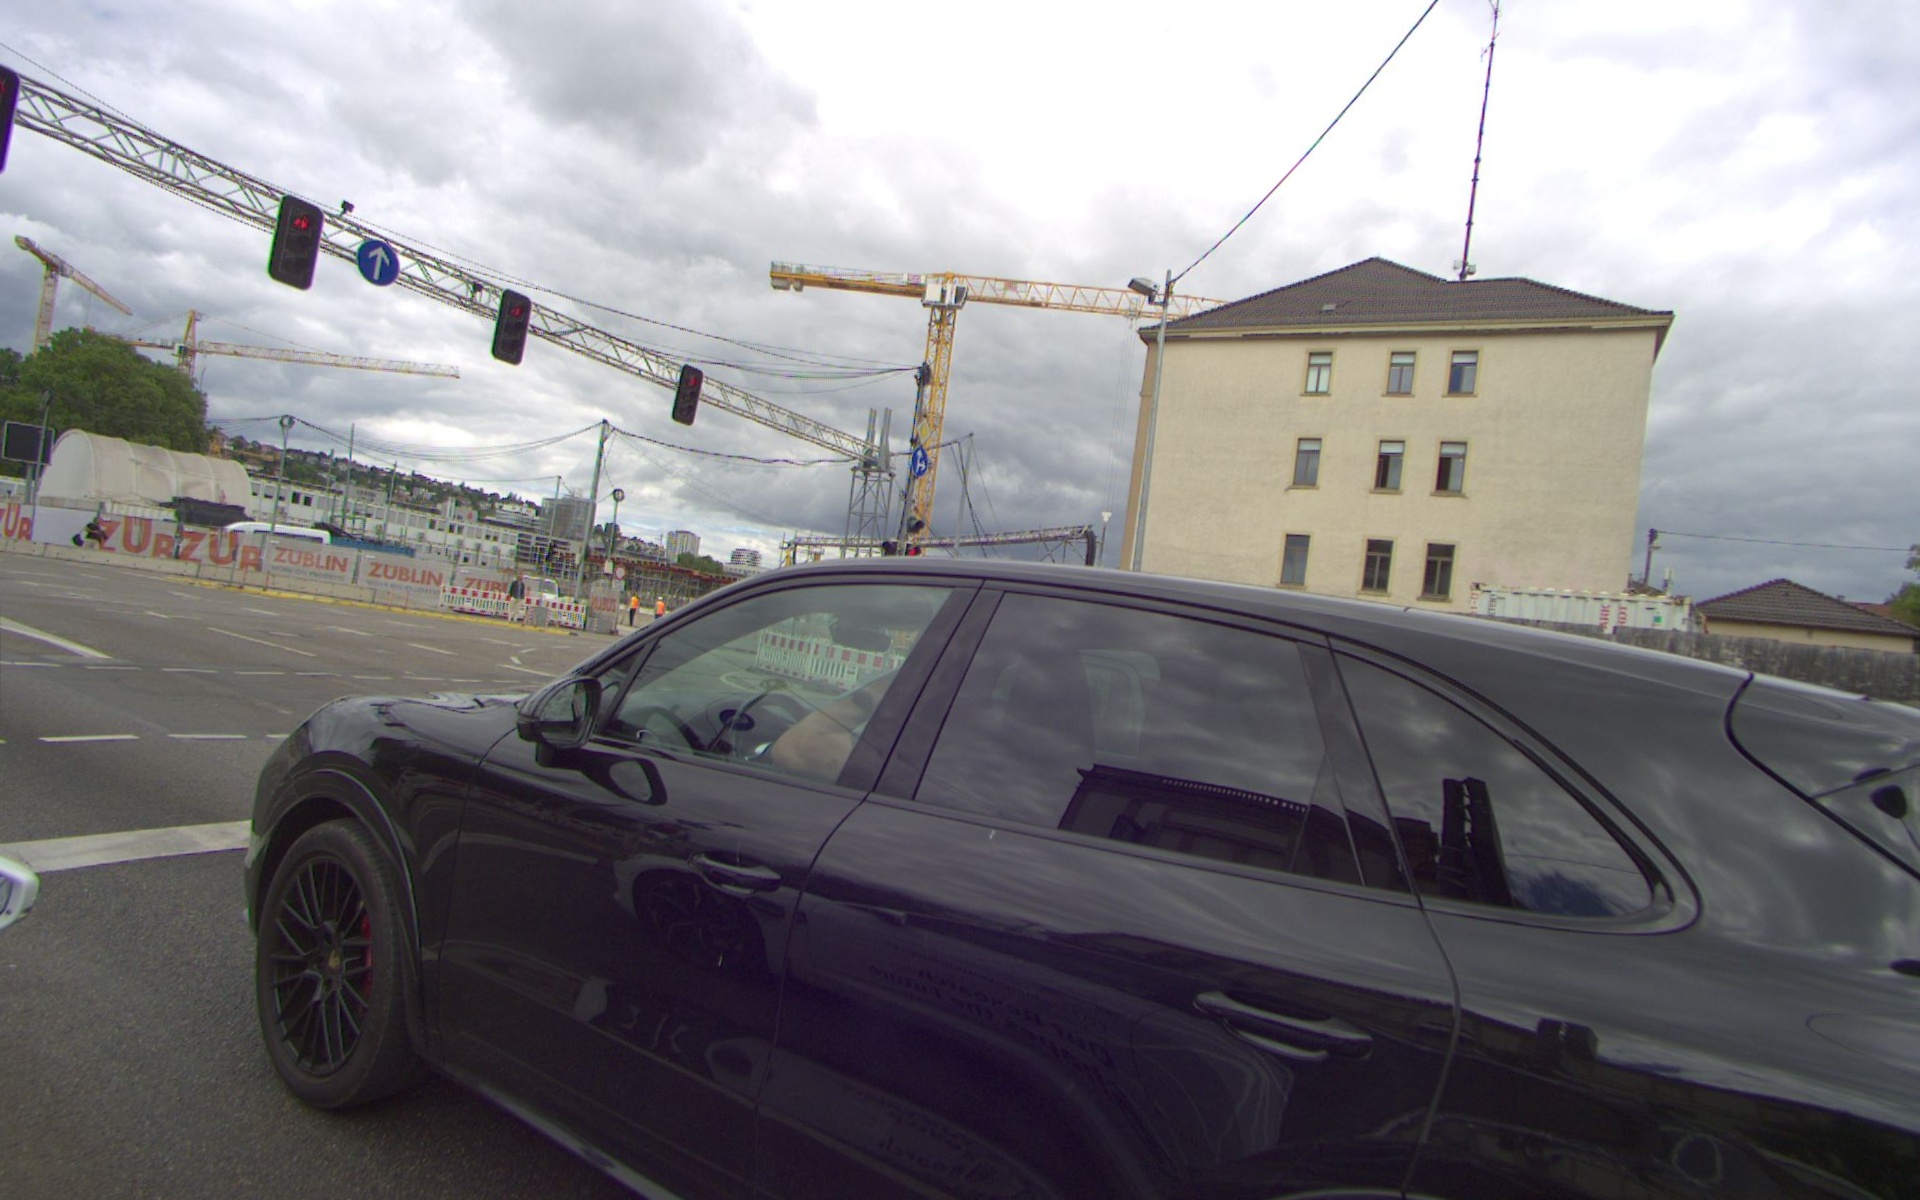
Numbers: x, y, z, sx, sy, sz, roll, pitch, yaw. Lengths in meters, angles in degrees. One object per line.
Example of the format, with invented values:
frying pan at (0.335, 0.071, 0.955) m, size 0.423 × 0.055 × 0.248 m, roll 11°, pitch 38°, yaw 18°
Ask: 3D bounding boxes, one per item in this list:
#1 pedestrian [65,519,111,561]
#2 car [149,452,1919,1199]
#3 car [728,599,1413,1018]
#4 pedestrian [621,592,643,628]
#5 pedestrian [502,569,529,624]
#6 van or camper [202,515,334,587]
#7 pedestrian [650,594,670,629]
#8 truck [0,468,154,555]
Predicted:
pedestrian at (-33.060, -2.263, 38.148) m, size 0.887 × 1.393 × 0.800 m, roll 8°, pitch -1°, yaw 10°
car at (0.034, 0.723, 2.693) m, size 4.559 × 1.705 × 1.959 m, roll 7°, pitch -2°, yaw 33°
car at (0.590, 1.051, 6.368) m, size 3.818 × 1.561 × 1.667 m, roll 7°, pitch -2°, yaw 33°
pedestrian at (-17.617, 0.545, 54.086) m, size 0.607 × 1.816 × 0.654 m, roll 7°, pitch -1°, yaw 23°
pedestrian at (-17.249, -0.120, 39.007) m, size 0.647 × 2.037 × 0.513 m, roll 8°, pitch -1°, yaw -33°
van or camper at (-29.810, -2.075, 43.410) m, size 4.204 × 2.384 × 1.976 m, roll 10°, pitch -3°, yaw -44°
pedestrian at (-15.627, 0.620, 52.373) m, size 0.508 × 1.737 × 0.654 m, roll 7°, pitch -1°, yaw 21°
truck at (-57.896, -5.803, 61.930) m, size 3.875 × 4.086 × 13.089 m, roll 8°, pitch -2°, yaw 12°
